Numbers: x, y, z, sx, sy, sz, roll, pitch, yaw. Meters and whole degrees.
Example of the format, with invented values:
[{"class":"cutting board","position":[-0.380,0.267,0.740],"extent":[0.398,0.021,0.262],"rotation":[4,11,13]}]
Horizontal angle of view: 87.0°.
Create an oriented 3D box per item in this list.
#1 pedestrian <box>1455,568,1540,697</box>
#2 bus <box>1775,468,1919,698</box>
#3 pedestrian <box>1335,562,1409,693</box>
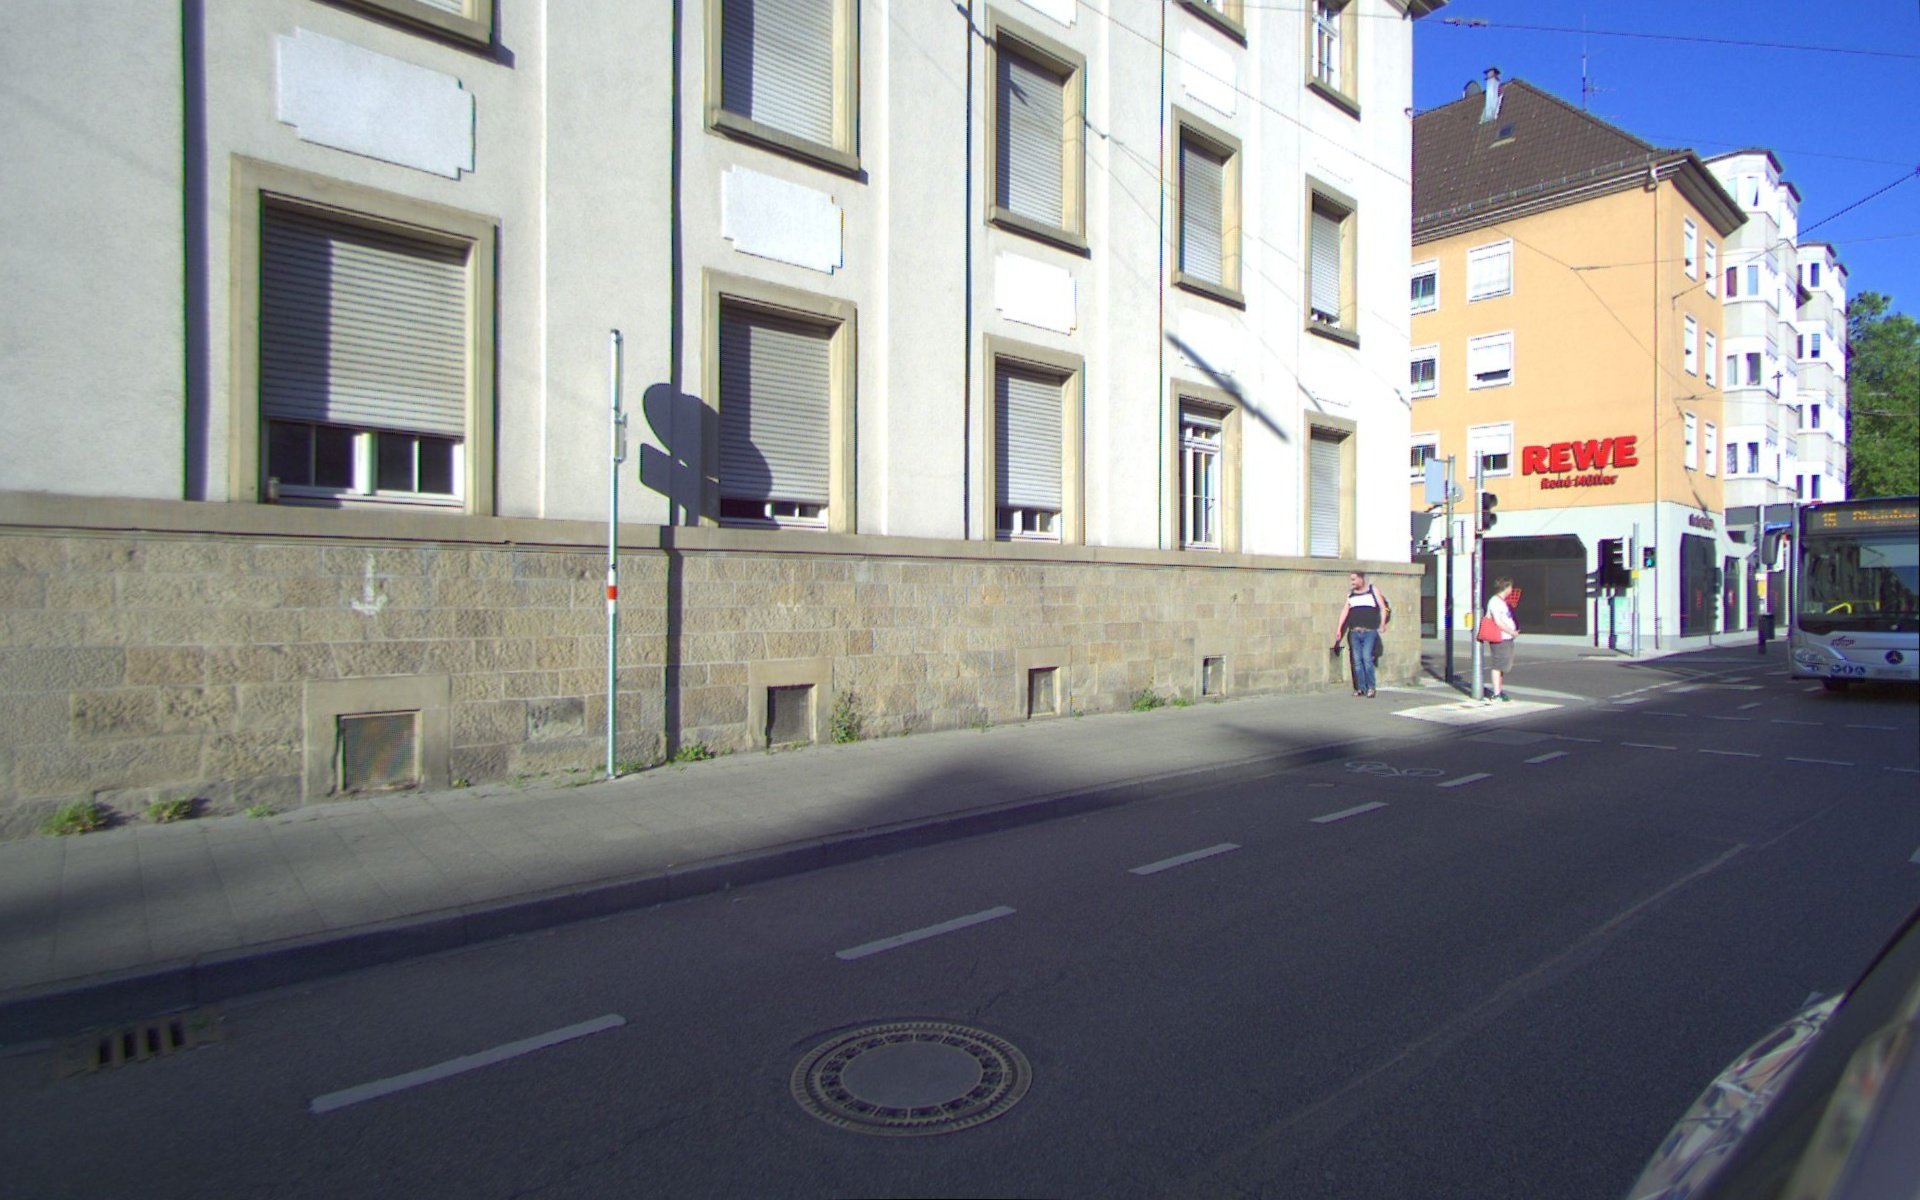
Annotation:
[{"class":"pedestrian","position":[7.768,0.432,14.631],"extent":[0.809,1.784,0.837],"rotation":[-1,2,-40]},{"class":"bus","position":[19.884,-0.364,19.737],"extent":[17.426,3.190,2.771],"rotation":[-1,0,-40]},{"class":"pedestrian","position":[5.792,0.361,14.217],"extent":[0.811,1.780,0.630],"rotation":[-1,0,-40]}]
